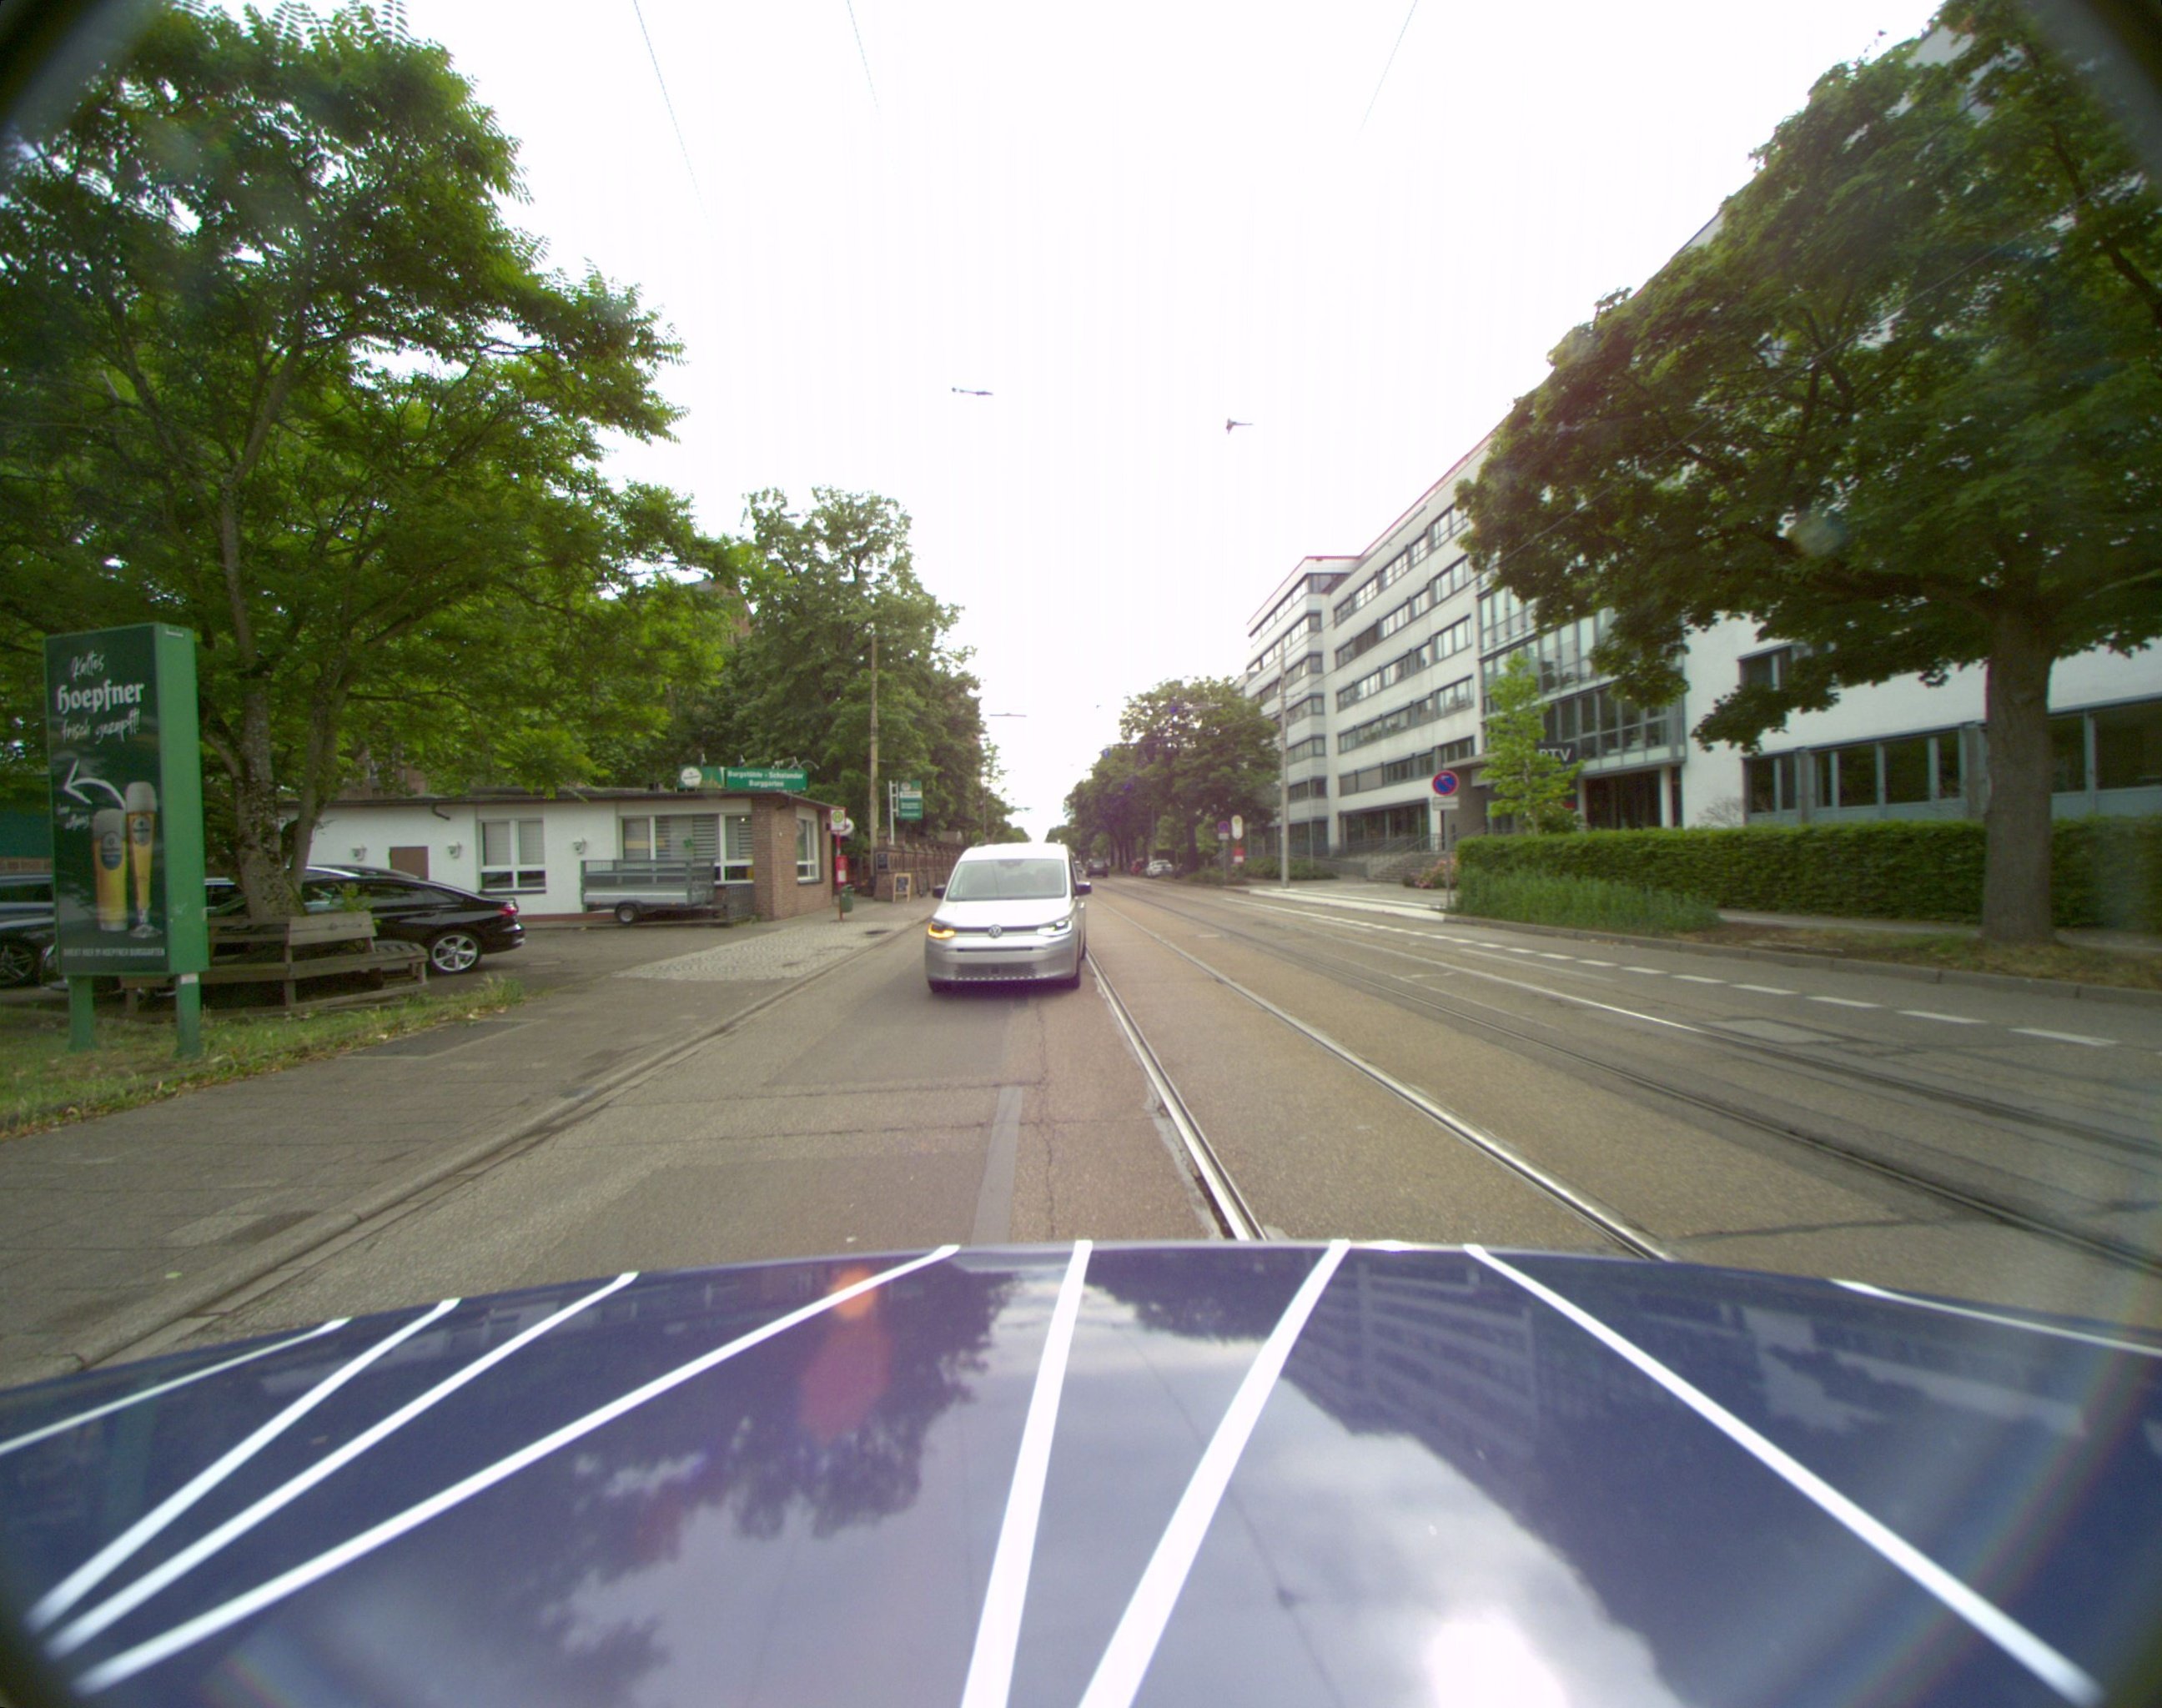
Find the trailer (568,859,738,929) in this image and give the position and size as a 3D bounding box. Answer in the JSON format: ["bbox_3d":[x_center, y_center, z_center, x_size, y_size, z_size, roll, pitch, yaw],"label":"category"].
[{"bbox_3d":[-10.410,0.951,18.652,3.170,1.530,1.620,-2,1,-2],"label":"trailer"}]

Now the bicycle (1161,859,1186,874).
[{"bbox_3d":[7.130,0.973,58.642,1.812,1.094,0.632,-1,1,-9],"label":"bicycle"}]

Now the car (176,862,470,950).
[{"bbox_3d":[-16.351,1.074,16.557,4.434,1.637,1.991,-2,1,2],"label":"car"}]

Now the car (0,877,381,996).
[{"bbox_3d":[-13.970,1.141,11.649,1.872,1.419,4.551,2,1,40],"label":"car"}]

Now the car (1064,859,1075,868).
[{"bbox_3d":[-1.899,1.647,127.378,1.752,1.477,4.062,-1,-1,-3],"label":"car"}]

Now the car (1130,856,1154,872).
[{"bbox_3d":[6.059,0.958,76.107,1.633,1.439,3.755,-5,1,-6],"label":"car"}]

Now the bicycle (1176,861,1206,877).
[{"bbox_3d":[7.582,1.018,52.417,1.834,1.047,0.741,-2,0,-11],"label":"bicycle"}]

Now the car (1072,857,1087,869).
[{"bbox_3d":[-0.211,1.162,100.254,1.708,1.521,3.740,-2,1,-4],"label":"car"}]

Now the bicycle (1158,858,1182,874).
[{"bbox_3d":[6.989,0.954,59.797,1.869,1.180,0.632,-1,1,1],"label":"bicycle"}]

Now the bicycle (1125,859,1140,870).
[{"bbox_3d":[5.621,1.171,82.770,1.475,1.085,0.616,-3,1,-15],"label":"bicycle"}]

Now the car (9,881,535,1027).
[{"bbox_3d":[-10.467,1.134,10.345,1.930,1.399,4.594,-1,-1,41],"label":"car"}]

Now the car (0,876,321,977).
[{"bbox_3d":[-16.171,1.132,12.808,1.980,1.450,4.501,-1,-2,36],"label":"car"}]

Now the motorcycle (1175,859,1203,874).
[{"bbox_3d":[7.791,0.894,54.775,1.794,1.044,0.732,-2,1,-10],"label":"motorcycle"}]

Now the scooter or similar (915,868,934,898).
[{"bbox_3d":[-6.898,1.264,33.594,0.578,1.232,1.409,2,0,-2],"label":"scooter or similar"}]

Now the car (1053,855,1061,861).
[{"bbox_3d":[-6.229,1.097,196.154,1.746,1.490,4.259,-2,0,-5],"label":"car"}]

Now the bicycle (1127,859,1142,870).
[{"bbox_3d":[5.899,1.151,83.789,1.473,1.134,0.617,-2,1,-4],"label":"bicycle"}]

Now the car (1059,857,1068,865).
[{"bbox_3d":[-3.757,1.576,162.943,1.847,1.644,4.388,1,-1,-3],"label":"car"}]

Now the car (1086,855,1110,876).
[{"bbox_3d":[1.520,1.031,68.815,1.832,1.727,4.334,-1,0,-2],"label":"car"}]

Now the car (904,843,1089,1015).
[{"bbox_3d":[-0.876,0.818,10.556,1.850,1.796,4.937,-1,0,2],"label":"car"}]

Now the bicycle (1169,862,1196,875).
[{"bbox_3d":[7.514,1.067,56.268,1.812,0.894,0.632,-1,1,-9],"label":"bicycle"}]

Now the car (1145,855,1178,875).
[{"bbox_3d":[6.587,0.908,62.729,1.886,1.484,4.752,-3,0,-3],"label":"car"}]
